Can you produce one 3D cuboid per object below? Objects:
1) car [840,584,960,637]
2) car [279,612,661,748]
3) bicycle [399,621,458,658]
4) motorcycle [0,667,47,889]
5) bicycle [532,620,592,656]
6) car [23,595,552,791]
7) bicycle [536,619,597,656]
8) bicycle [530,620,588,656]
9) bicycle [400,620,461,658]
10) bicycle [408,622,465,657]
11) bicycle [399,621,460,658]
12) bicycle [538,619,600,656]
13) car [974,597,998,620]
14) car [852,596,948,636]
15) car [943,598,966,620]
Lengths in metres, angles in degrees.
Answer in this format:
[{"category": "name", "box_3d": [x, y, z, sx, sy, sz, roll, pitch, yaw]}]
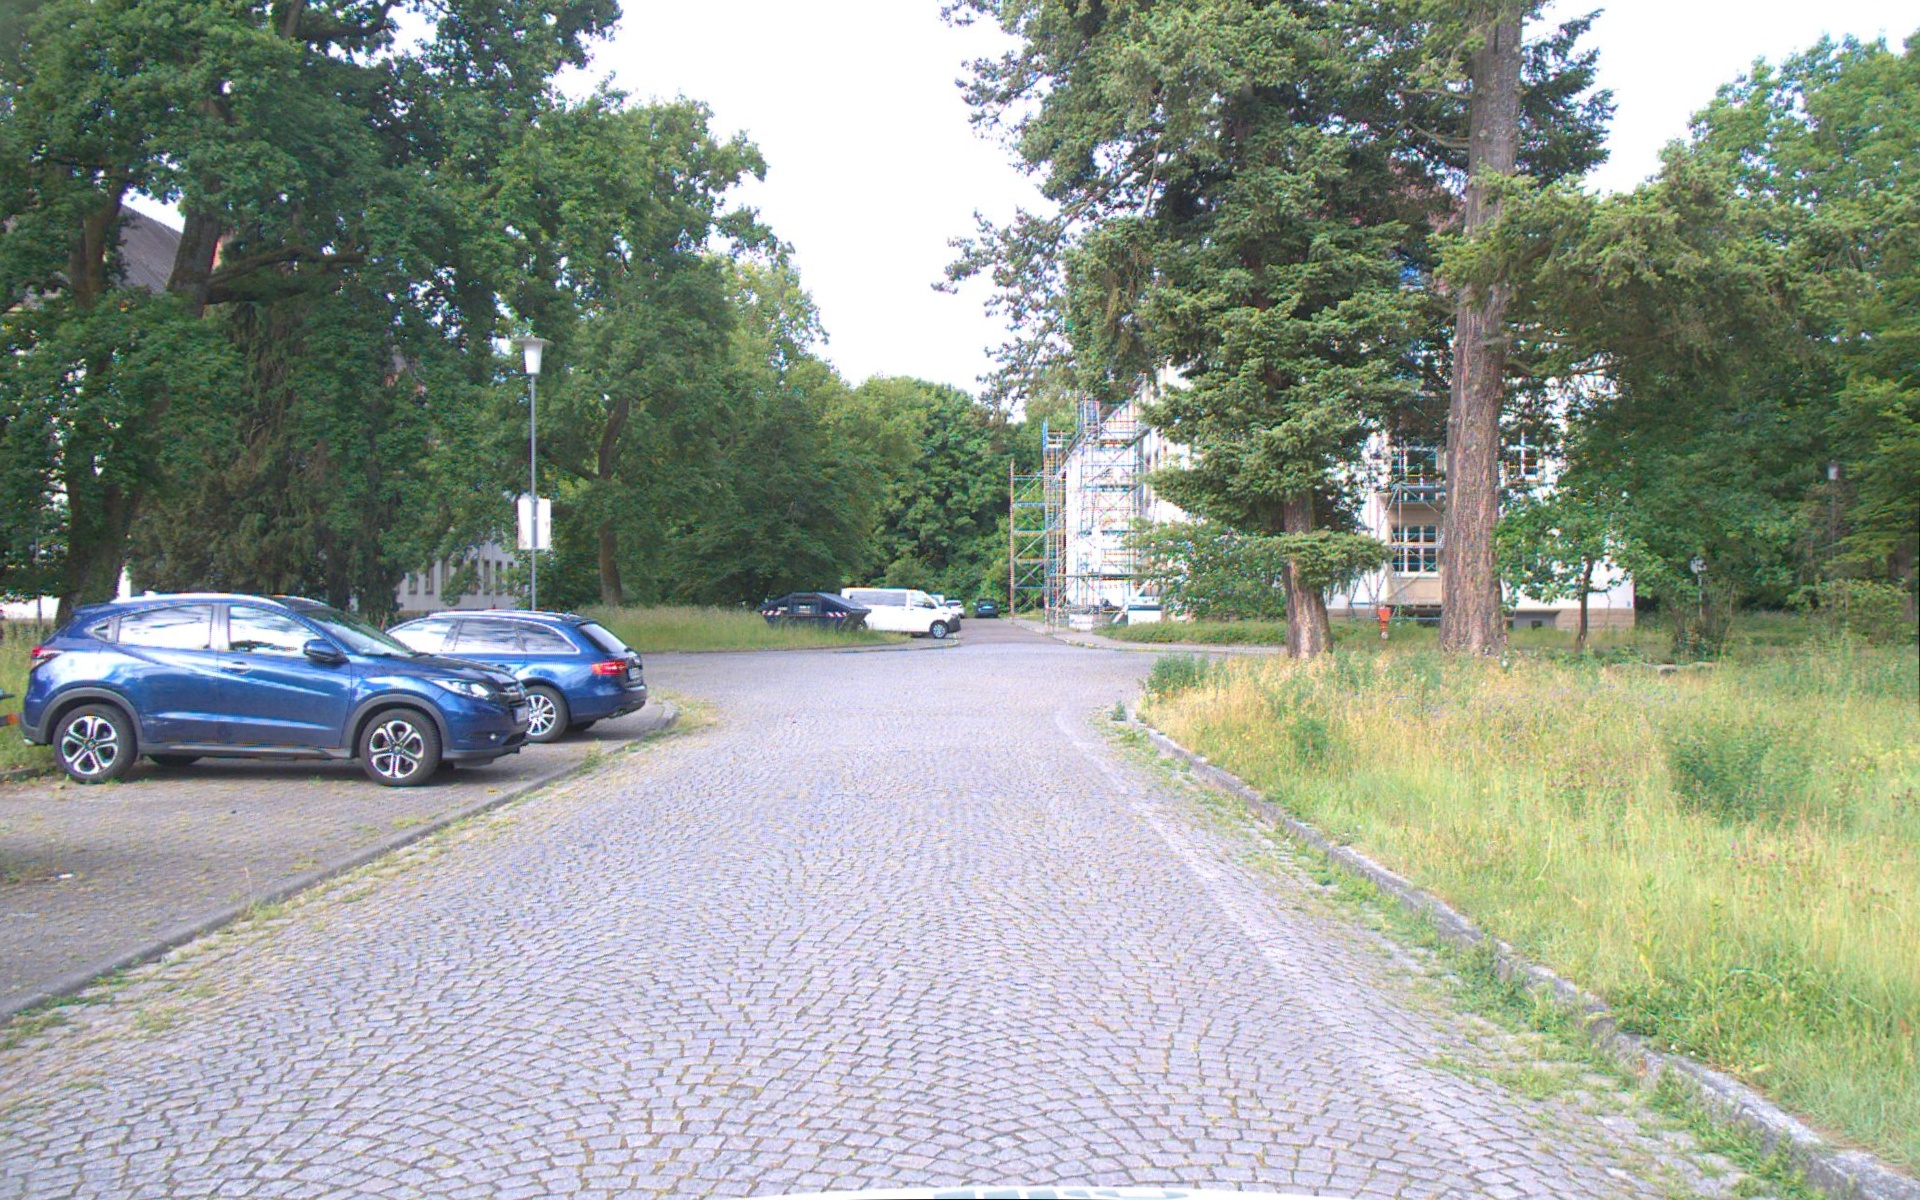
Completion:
[{"category": "car", "box_3d": [-2.481, 0.455, 68.482, 4.877, 2.109, 2.051, 1, -2, -2]}, {"category": "car", "box_3d": [-5.689, 0.906, 19.467, 3.986, 1.493, 1.626, 0, 0, 3]}, {"category": "bicycle", "box_3d": [-15.957, 1.185, 49.636, 1.677, 1.072, 0.571, 0, -2, -21]}, {"category": "motorcycle", "box_3d": [-6.273, 0.977, 9.077, 2.180, 1.179, 0.647, 0, 0, 2]}, {"category": "bicycle", "box_3d": [-11.870, 1.130, 49.350, 1.677, 1.072, 0.571, 0, -2, -21]}, {"category": "car", "box_3d": [-5.847, 0.774, 14.769, 3.989, 1.632, 1.787, 0, 0, -2]}, {"category": "bicycle", "box_3d": [-11.532, 1.103, 48.459, 1.677, 1.072, 0.571, 0, -2, -21]}, {"category": "bicycle", "box_3d": [-12.139, 1.152, 50.072, 1.677, 1.072, 0.571, 0, -2, -21]}, {"category": "bicycle", "box_3d": [-15.409, 1.140, 48.123, 1.677, 1.072, 0.571, 0, -2, -21]}, {"category": "bicycle", "box_3d": [-16.289, 1.236, 51.442, 1.677, 1.072, 0.571, 0, -2, -21]}, {"category": "bicycle", "box_3d": [-15.607, 1.156, 48.667, 1.677, 1.072, 0.571, 0, -2, -21]}, {"category": "bicycle", "box_3d": [-11.319, 1.086, 47.900, 1.677, 1.072, 0.571, 0, -2, -21]}, {"category": "car", "box_3d": [2.129, 0.704, 134.900, 1.754, 1.750, 4.059, -1, -2, -2]}, {"category": "car", "box_3d": [-3.098, 0.833, 85.885, 4.877, 2.003, 2.051, 1, -2, -2]}, {"category": "car", "box_3d": [-0.439, 0.768, 134.546, 1.754, 1.665, 4.059, -1, -2, -2]}]
